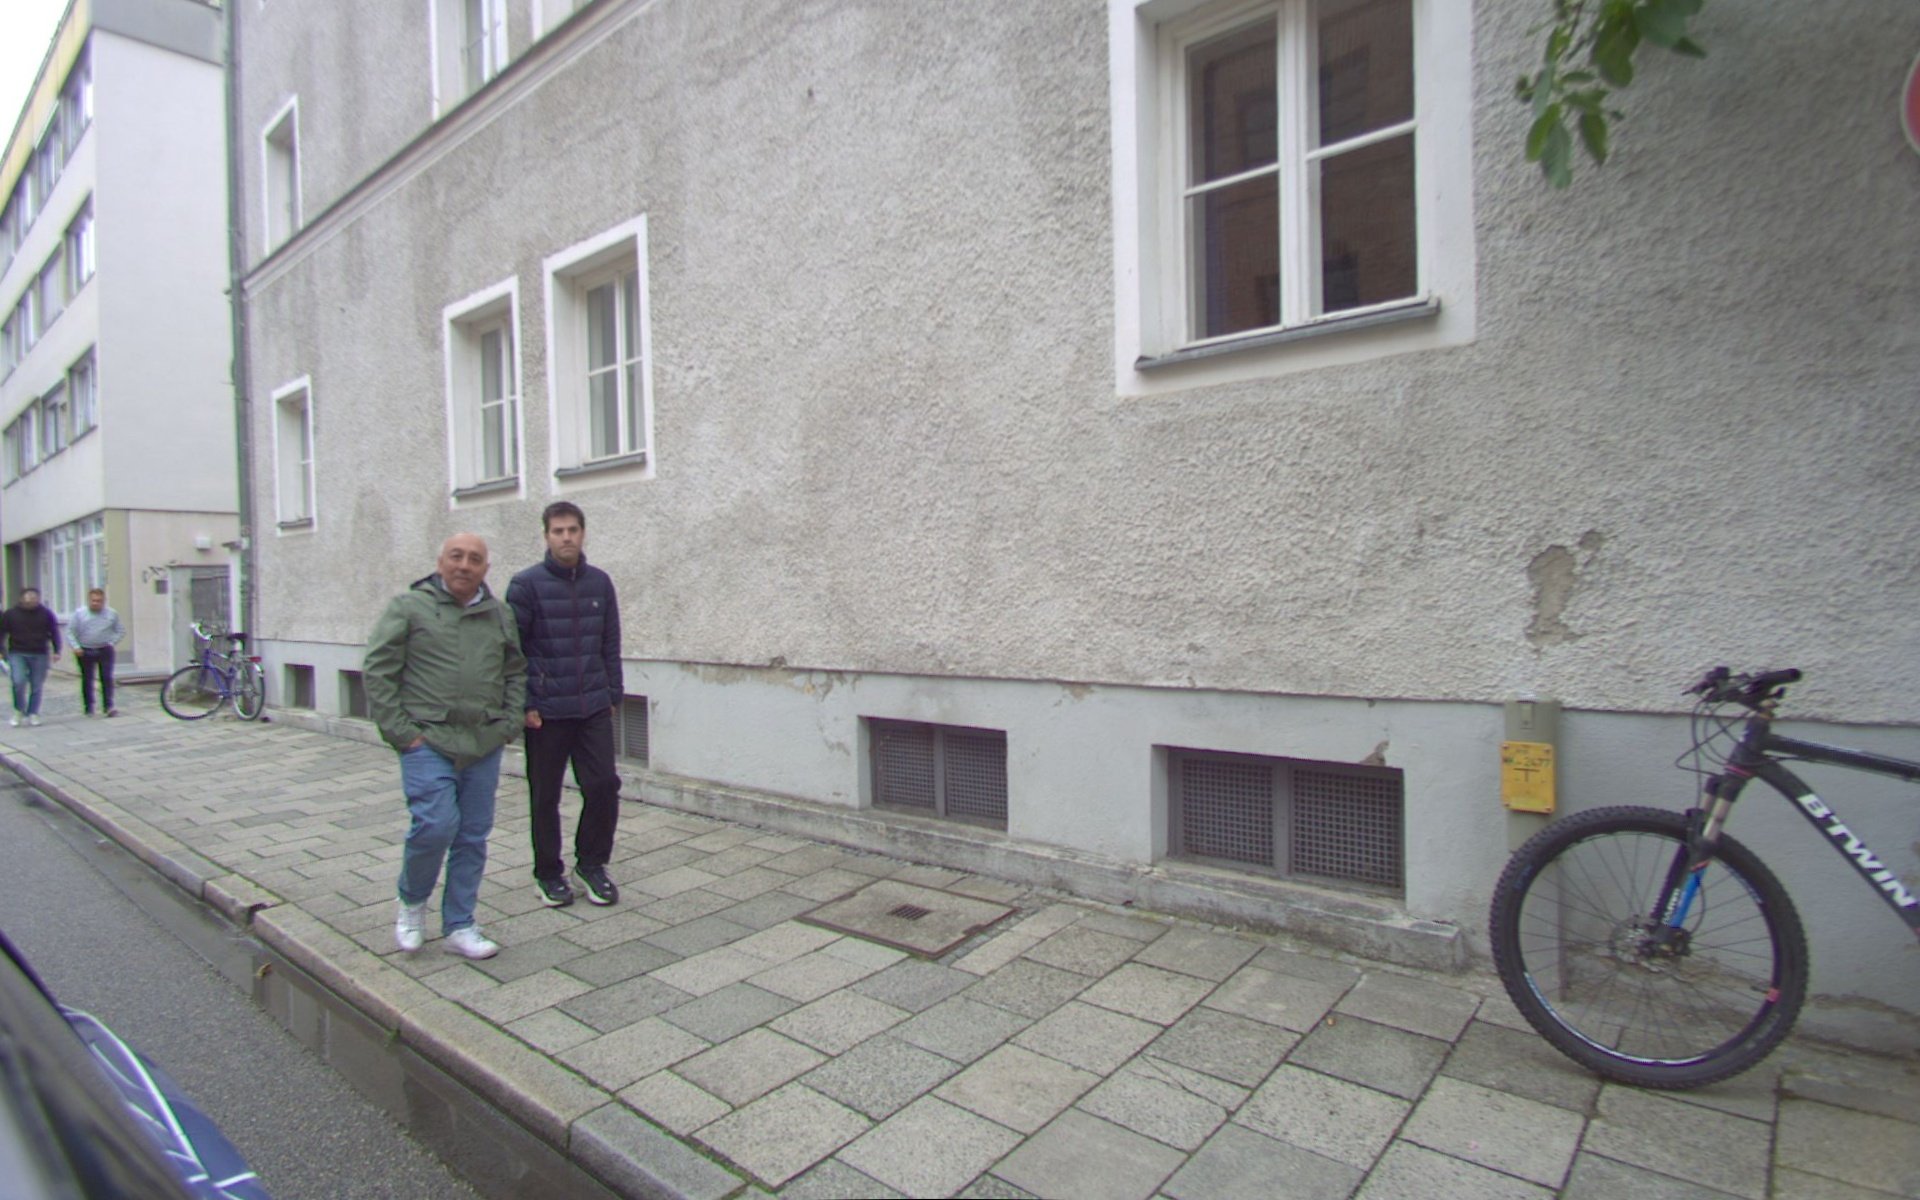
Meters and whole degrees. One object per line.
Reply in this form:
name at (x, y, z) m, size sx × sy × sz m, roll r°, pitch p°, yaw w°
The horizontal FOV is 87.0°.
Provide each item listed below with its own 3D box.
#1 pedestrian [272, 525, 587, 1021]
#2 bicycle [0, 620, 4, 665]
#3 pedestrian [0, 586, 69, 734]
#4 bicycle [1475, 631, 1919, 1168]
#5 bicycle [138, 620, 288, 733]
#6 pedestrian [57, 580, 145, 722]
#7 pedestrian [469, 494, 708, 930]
pedestrian at (-2.081, 0.568, 3.973) m, size 0.906 × 1.671 × 0.745 m, roll 0°, pitch 2°, yaw 41°
bicycle at (-26.121, 1.137, 26.993) m, size 1.717 × 1.168 × 0.557 m, roll 0°, pitch 1°, yaw 35°
pedestrian at (-11.907, 0.735, 12.854) m, size 0.837 × 1.778 × 0.711 m, roll 0°, pitch 2°, yaw 41°
bicycle at (2.197, 0.642, 2.329) m, size 1.749 × 1.119 × 0.471 m, roll -1°, pitch 0°, yaw 24°
bicycle at (-8.676, 0.859, 11.752) m, size 1.653 × 1.227 × 0.638 m, roll 0°, pitch 0°, yaw 22°
pedestrian at (-11.518, 0.652, 13.569) m, size 0.916 × 1.810 × 0.711 m, roll 0°, pitch 2°, yaw 41°
pedestrian at (-1.651, 0.433, 4.495) m, size 0.823 × 1.726 × 0.606 m, roll 0°, pitch 2°, yaw 40°
